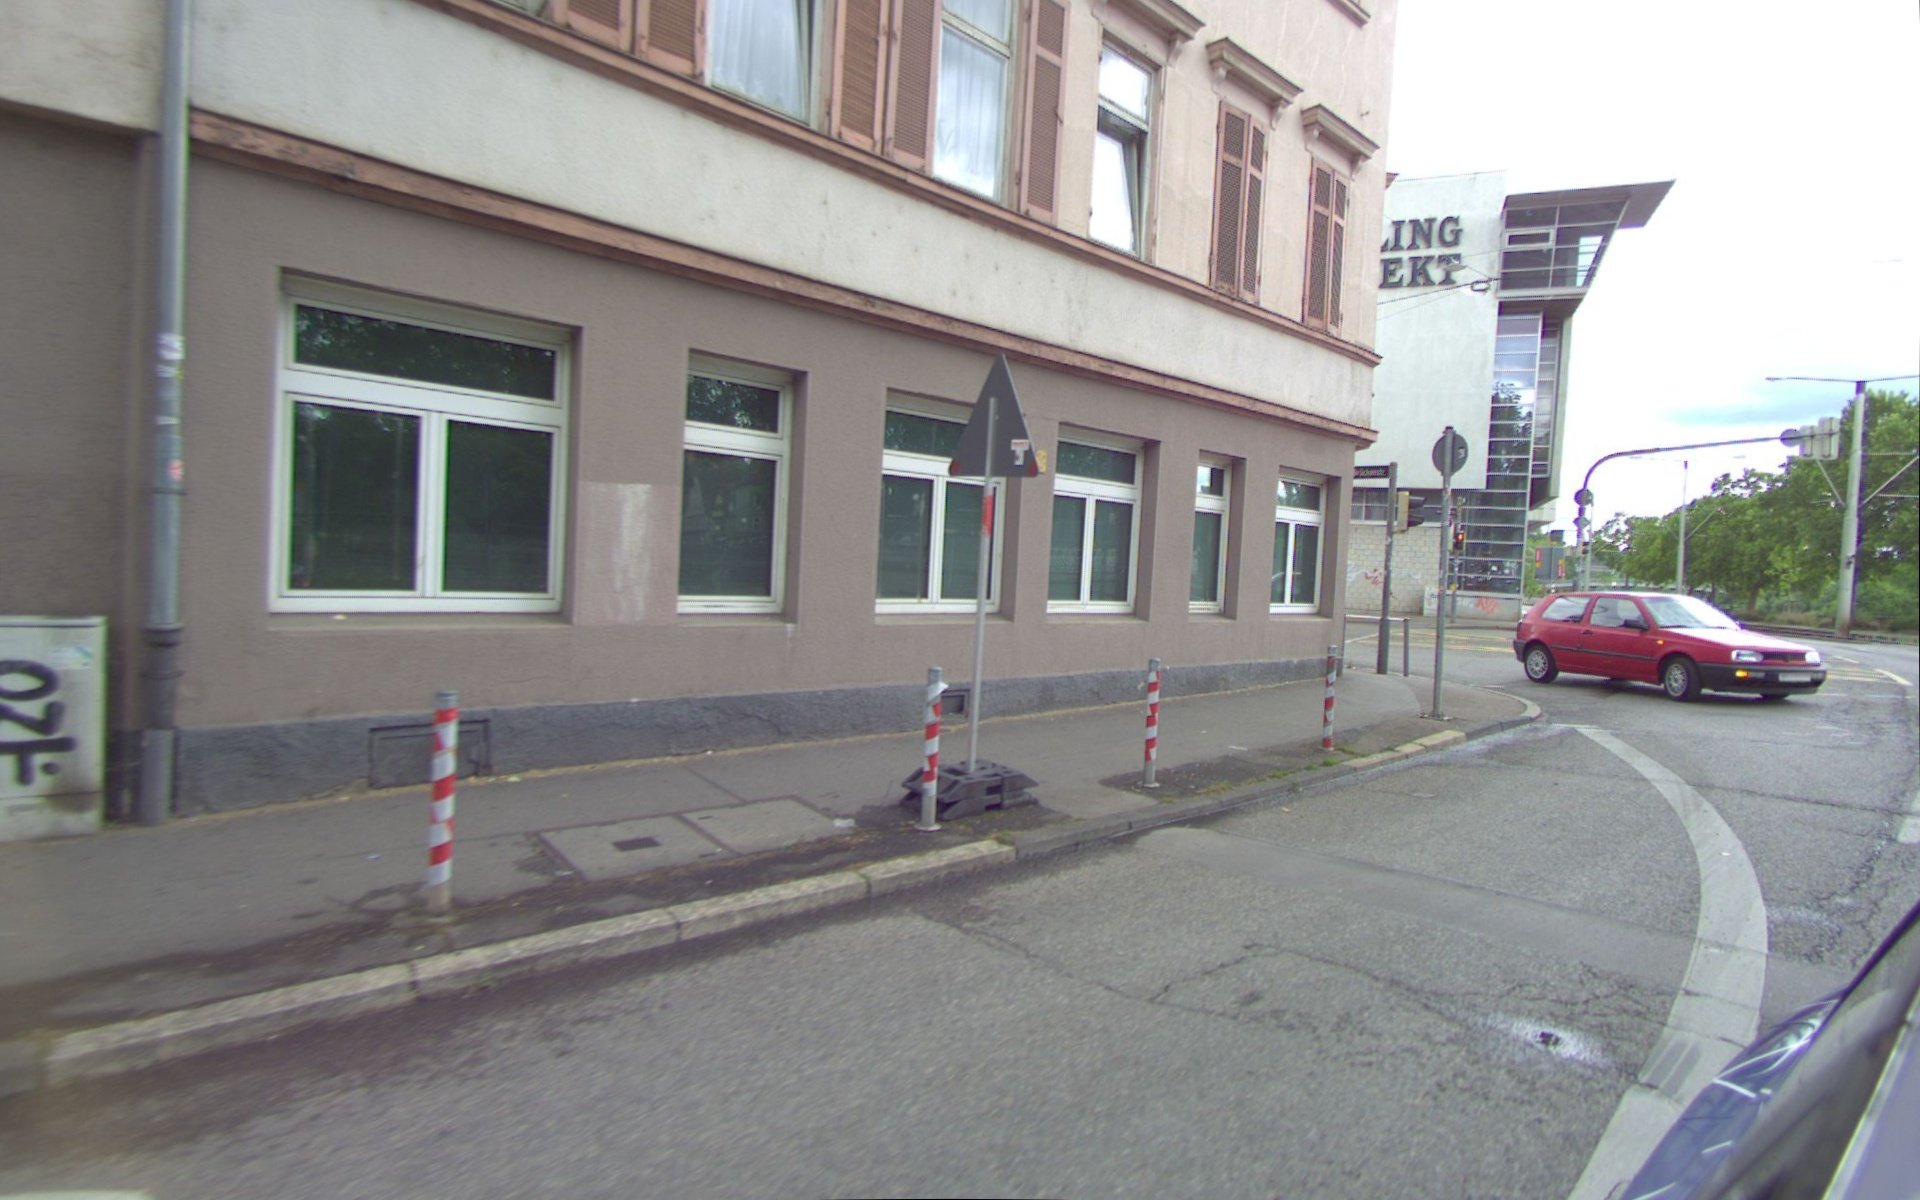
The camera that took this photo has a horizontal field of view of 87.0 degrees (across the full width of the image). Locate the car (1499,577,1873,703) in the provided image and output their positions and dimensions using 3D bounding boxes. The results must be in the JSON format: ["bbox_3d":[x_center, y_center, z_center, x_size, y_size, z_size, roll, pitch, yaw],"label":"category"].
[{"bbox_3d":[10.057,0.433,14.494,1.813,1.440,4.182,-2,2,-13],"label":"car"}]
